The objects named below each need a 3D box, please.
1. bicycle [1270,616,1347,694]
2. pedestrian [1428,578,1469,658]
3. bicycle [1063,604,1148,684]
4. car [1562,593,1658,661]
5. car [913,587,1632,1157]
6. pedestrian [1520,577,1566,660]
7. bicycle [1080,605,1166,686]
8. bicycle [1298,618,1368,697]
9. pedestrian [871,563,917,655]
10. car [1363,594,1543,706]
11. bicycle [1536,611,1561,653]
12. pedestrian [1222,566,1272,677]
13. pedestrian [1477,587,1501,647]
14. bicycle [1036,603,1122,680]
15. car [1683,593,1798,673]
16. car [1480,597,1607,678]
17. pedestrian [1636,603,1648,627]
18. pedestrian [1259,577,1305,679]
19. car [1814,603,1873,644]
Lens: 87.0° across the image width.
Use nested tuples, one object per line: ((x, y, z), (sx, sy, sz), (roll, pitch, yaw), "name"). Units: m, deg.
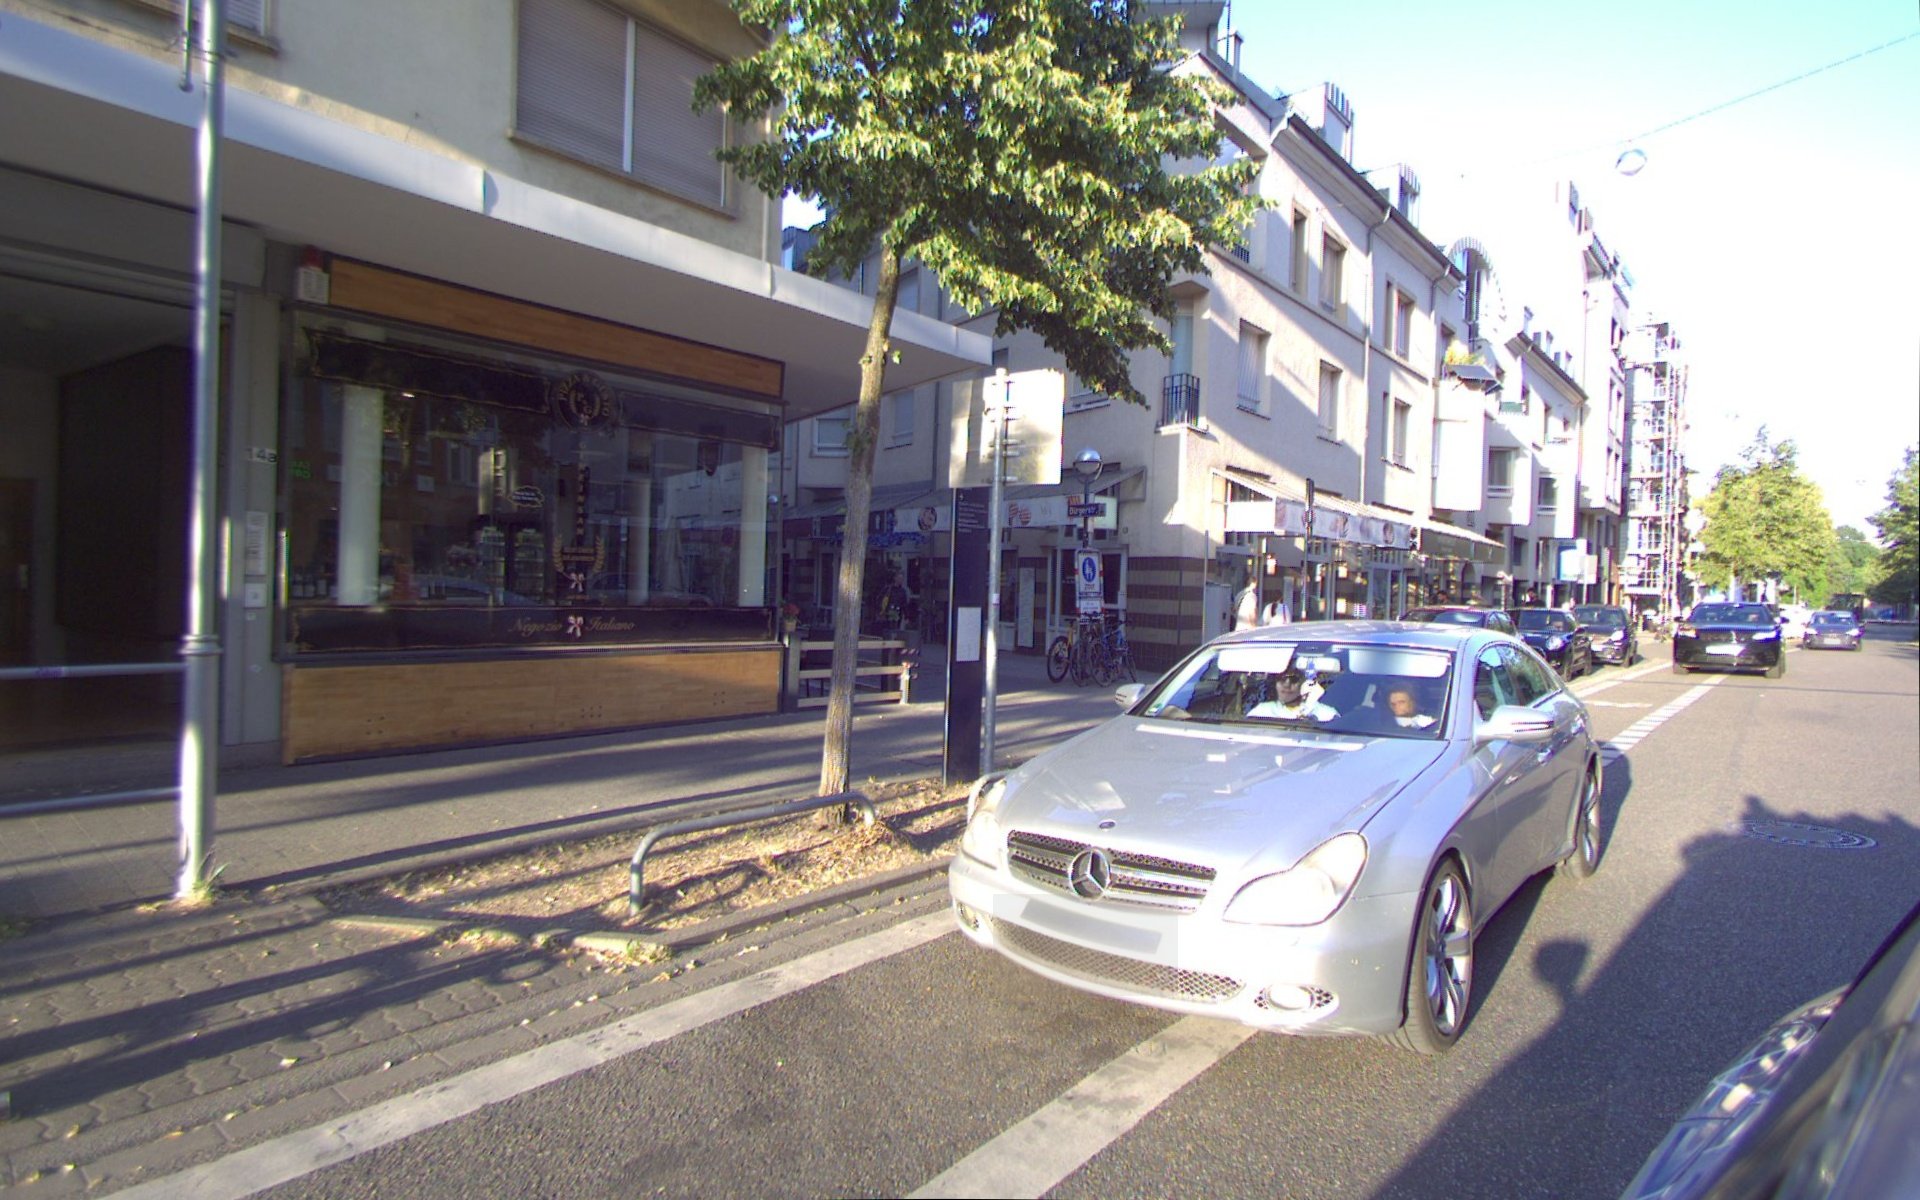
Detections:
((5.220, 0.792, 15.083), (0.314, 1.059, 1.853), (3, 2, 43), "bicycle")
((11.120, 0.404, 23.027), (0.629, 1.771, 0.660), (3, 2, 41), "pedestrian")
((2.236, 0.638, 15.397), (0.290, 1.118, 1.859), (2, 1, 41), "bicycle")
((17.152, 0.652, 26.647), (1.615, 1.612, 3.868), (2, 1, 40), "car")
((1.954, 0.684, 4.965), (1.740, 1.418, 4.573), (0, 2, 40), "car")
((13.690, 0.424, 23.759), (0.776, 1.907, 0.660), (-2, -2, 41), "pedestrian")
((2.466, 0.647, 15.186), (0.320, 1.118, 1.851), (2, 1, 41), "bicycle")
((5.494, 0.814, 14.876), (0.314, 1.059, 1.638), (3, 2, 43), "bicycle")
((-1.269, 0.160, 19.371), (0.688, 1.696, 0.799), (2, 2, -13), "pedestrian")
((7.771, 0.688, 15.774), (1.587, 1.451, 3.868), (4, 2, 40), "car")
((16.243, 0.863, 27.925), (0.295, 1.099, 1.441), (1, 1, 41), "bicycle")
((4.775, 0.346, 16.841), (0.543, 1.779, 0.495), (5, 3, 41), "pedestrian")
((16.252, 0.523, 31.082), (0.574, 1.823, 0.443), (0, 0, 42), "pedestrian")
((1.876, 0.612, 15.719), (0.320, 1.118, 1.851), (2, 1, 41), "bicycle")
((17.929, 0.688, 23.185), (1.884, 1.656, 4.165), (0, 0, 41), "car")
((12.248, 0.713, 21.139), (1.615, 1.452, 3.868), (3, 2, 40), "car")
((36.282, 0.776, 53.841), (0.490, 1.279, 0.415), (0, 0, 42), "pedestrian")
((5.301, 0.452, 16.663), (0.519, 1.612, 0.402), (5, 3, 41), "pedestrian")
((33.643, 0.857, 38.599), (1.616, 1.492, 3.634), (0, 0, 41), "car")
